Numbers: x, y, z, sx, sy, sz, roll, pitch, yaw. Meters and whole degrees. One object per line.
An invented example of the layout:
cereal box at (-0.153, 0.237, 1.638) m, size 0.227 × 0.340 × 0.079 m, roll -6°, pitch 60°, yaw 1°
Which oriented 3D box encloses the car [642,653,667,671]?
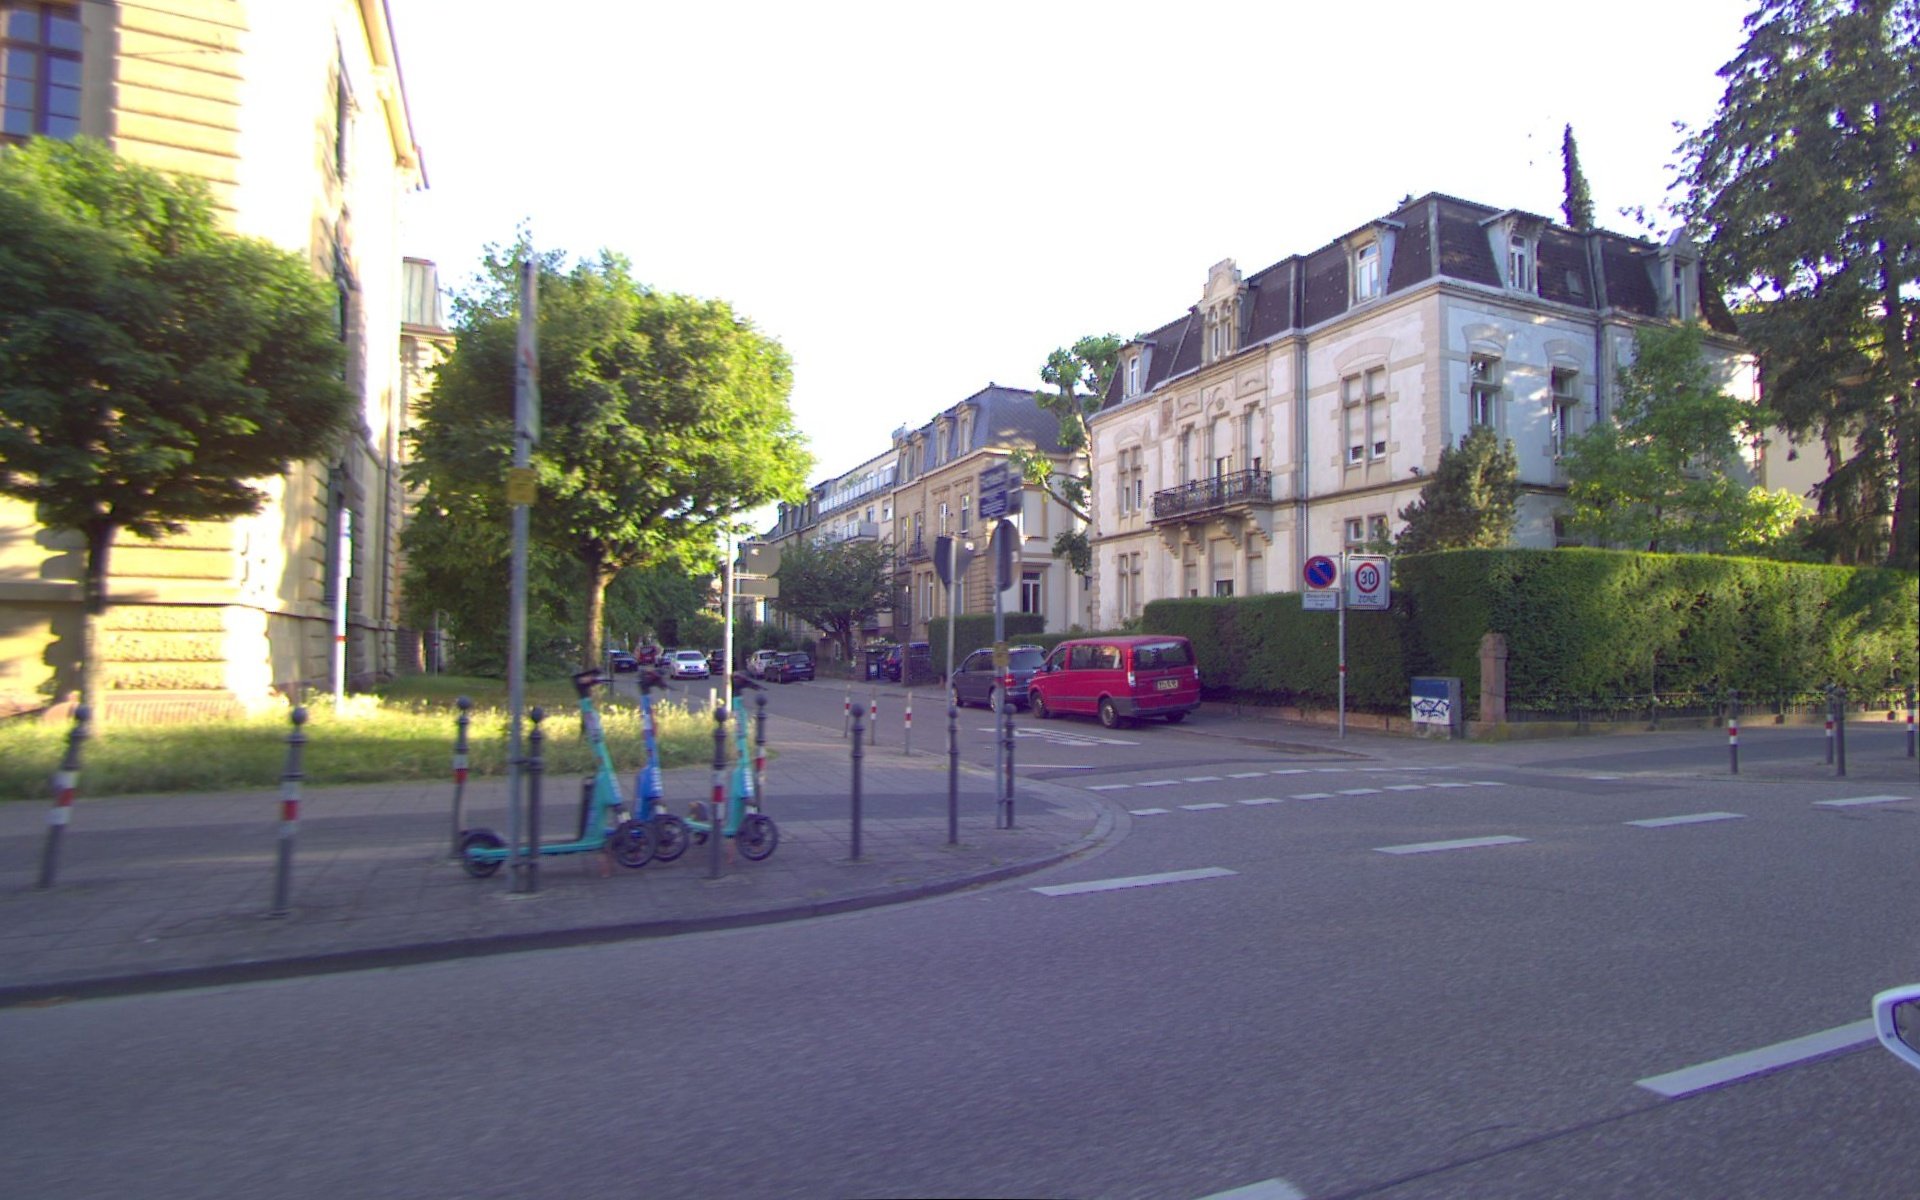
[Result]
car at (-30.601, 6.134, 100.404) m, size 1.834 × 1.639 × 3.975 m, roll 1°, pitch -2°, yaw -25°

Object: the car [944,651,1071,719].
car at (1.208, 2.238, 27.359) m, size 1.893 × 1.695 × 3.978 m, roll 1°, pitch -3°, yaw -24°

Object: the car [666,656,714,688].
car at (-14.190, 3.755, 52.626) m, size 1.971 × 1.594 × 3.980 m, roll 1°, pitch -3°, yaw -22°

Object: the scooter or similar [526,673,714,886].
scooter or similar at (-2.306, 1.154, 6.781) m, size 1.320 × 1.291 × 0.431 m, roll -1°, pitch -3°, yaw 31°

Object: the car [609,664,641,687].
car at (-23.498, 5.267, 70.365) m, size 1.659 × 1.479 × 3.977 m, roll 1°, pitch -3°, yaw -25°

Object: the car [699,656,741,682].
car at (-15.668, 4.483, 65.488) m, size 1.973 × 1.599 × 3.977 m, roll 1°, pitch -3°, yaw -25°

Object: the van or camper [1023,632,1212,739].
van or camper at (3.386, 1.839, 22.737) m, size 1.971 × 2.012 × 4.761 m, roll -4°, pitch -2°, yaw -22°

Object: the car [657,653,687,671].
car at (-25.304, 5.421, 88.212) m, size 1.973 × 1.599 × 3.977 m, roll 1°, pitch -3°, yaw -25°

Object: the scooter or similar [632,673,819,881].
scooter or similar at (-1.626, 1.161, 6.915) m, size 1.320 × 1.291 × 0.431 m, roll -1°, pitch -3°, yaw 31°

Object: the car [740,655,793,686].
car at (-10.659, 3.852, 55.239) m, size 1.973 × 1.599 × 3.977 m, roll 1°, pitch -3°, yaw -25°

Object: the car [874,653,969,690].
car at (-1.808, 3.306, 46.899) m, size 3.942 × 1.483 × 1.990 m, roll -2°, pitch -2°, yaw -23°

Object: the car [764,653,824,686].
car at (-8.282, 3.420, 49.853) m, size 1.973 × 1.599 × 3.977 m, roll 1°, pitch -3°, yaw -25°

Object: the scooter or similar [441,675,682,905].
scooter or similar at (-2.414, 1.112, 6.115) m, size 1.317 × 1.291 × 0.432 m, roll 0°, pitch -3°, yaw 11°
